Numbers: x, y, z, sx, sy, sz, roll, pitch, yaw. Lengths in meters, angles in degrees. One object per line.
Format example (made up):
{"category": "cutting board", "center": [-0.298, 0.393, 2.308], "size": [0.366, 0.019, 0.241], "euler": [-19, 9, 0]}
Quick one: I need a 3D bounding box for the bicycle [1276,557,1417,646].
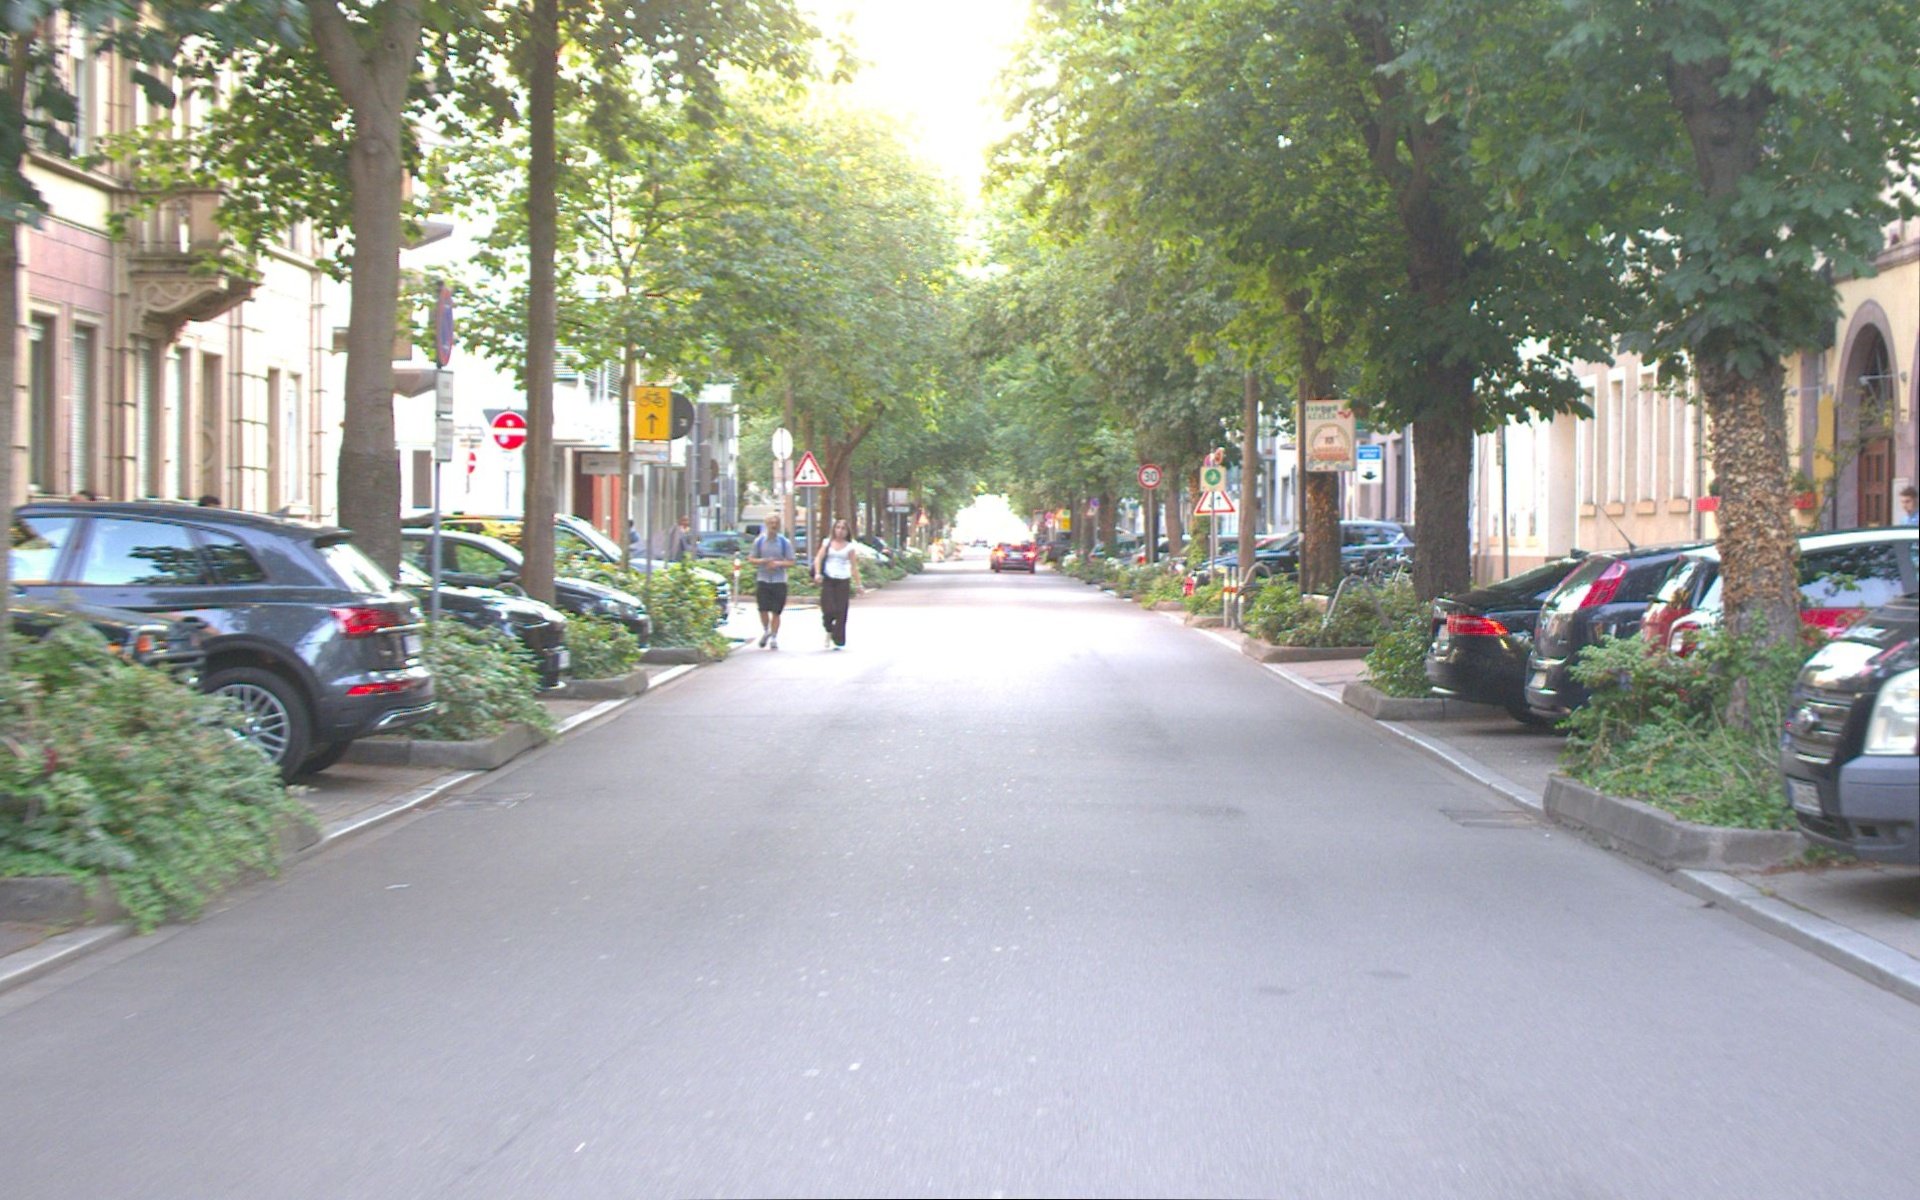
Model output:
{"category": "bicycle", "center": [5.265, 0.019, 46.890], "size": [1.829, 1.174, 0.673], "euler": [-1, 1, 0]}

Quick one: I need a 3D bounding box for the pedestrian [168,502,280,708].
{"category": "pedestrian", "center": [-6.340, 0.036, 29.625], "size": [0.734, 1.733, 0.671], "euler": [1, 1, 7]}

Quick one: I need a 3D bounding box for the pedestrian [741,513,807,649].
{"category": "pedestrian", "center": [-2.403, -0.250, 44.482], "size": [0.794, 1.731, 0.831], "euler": [-1, 1, 0]}

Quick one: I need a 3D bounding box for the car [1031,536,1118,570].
{"category": "car", "center": [5.729, -2.356, 172.054], "size": [4.268, 1.560, 1.963], "euler": [-1, 0, 1]}

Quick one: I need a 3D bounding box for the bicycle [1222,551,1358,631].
{"category": "bicycle", "center": [4.831, -0.142, 50.427], "size": [1.837, 1.131, 0.745], "euler": [-1, 1, -9]}

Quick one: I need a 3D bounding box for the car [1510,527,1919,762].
{"category": "car", "center": [6.054, 0.253, 24.153], "size": [3.987, 1.433, 1.927], "euler": [-3, 1, -1]}

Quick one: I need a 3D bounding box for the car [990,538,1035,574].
{"category": "car", "center": [2.371, -1.969, 155.397], "size": [1.956, 1.560, 4.282], "euler": [-1, 1, 1]}

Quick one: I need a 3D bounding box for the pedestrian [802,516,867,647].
{"category": "pedestrian", "center": [-1.619, -0.243, 44.351], "size": [0.794, 1.665, 0.831], "euler": [-1, 1, 0]}

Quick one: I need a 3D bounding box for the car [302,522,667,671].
{"category": "car", "center": [-5.160, -0.057, 37.665], "size": [3.692, 1.453, 1.873], "euler": [2, 2, 0]}

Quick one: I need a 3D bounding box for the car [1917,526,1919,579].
{"category": "car", "center": [5.592, 0.420, 11.481], "size": [4.155, 1.573, 1.970], "euler": [-3, 1, -1]}

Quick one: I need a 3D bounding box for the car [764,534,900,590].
{"category": "car", "center": [-4.515, -1.331, 121.704], "size": [4.682, 1.848, 1.963], "euler": [-1, 0, 1]}

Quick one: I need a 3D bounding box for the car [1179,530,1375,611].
{"category": "car", "center": [5.995, -0.565, 65.243], "size": [3.483, 1.447, 1.900], "euler": [-1, 1, -1]}

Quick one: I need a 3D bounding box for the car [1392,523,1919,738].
{"category": "car", "center": [5.722, 0.204, 26.685], "size": [4.400, 1.389, 1.886], "euler": [-3, 1, -1]}

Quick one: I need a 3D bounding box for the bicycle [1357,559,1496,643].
{"category": "bicycle", "center": [6.477, 0.007, 47.780], "size": [1.794, 1.124, 0.664], "euler": [-1, 1, -5]}

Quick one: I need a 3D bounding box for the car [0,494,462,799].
{"category": "car", "center": [-5.281, 0.220, 20.794], "size": [4.201, 1.666, 1.907], "euler": [2, 2, 1]}

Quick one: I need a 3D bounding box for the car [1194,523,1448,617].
{"category": "car", "center": [6.485, -0.552, 62.100], "size": [4.426, 1.650, 1.899], "euler": [0, 1, 2]}

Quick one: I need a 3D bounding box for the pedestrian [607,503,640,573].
{"category": "pedestrian", "center": [-8.370, -1.548, 85.588], "size": [0.703, 1.722, 0.905], "euler": [1, 0, 1]}

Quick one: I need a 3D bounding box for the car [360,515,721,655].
{"category": "car", "center": [-5.455, -0.220, 45.082], "size": [4.426, 1.645, 1.873], "euler": [2, 2, 2]}

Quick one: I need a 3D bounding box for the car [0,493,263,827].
{"category": "car", "center": [-5.829, 0.246, 18.446], "size": [3.800, 1.666, 1.714], "euler": [2, 2, 0]}

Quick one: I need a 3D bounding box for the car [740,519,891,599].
{"category": "car", "center": [-4.561, -1.299, 109.263], "size": [4.682, 2.469, 2.000], "euler": [1, 0, 1]}

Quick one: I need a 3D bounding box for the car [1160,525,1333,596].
{"category": "car", "center": [6.128, -0.859, 73.780], "size": [3.483, 1.447, 1.900], "euler": [-1, 1, -1]}

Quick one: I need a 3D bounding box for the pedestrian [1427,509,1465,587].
{"category": "pedestrian", "center": [9.632, -1.037, 68.179], "size": [0.655, 1.531, 0.831], "euler": [-1, 1, 1]}

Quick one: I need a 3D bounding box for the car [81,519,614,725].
{"category": "car", "center": [-4.883, 0.162, 27.809], "size": [3.945, 1.527, 1.907], "euler": [1, 1, 0]}

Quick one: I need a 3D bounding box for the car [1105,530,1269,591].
{"category": "car", "center": [6.624, -1.176, 100.608], "size": [4.718, 1.704, 1.950], "euler": [1, 2, 2]}

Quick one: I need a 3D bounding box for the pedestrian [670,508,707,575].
{"category": "pedestrian", "center": [-7.176, -1.553, 90.887], "size": [0.704, 1.751, 0.739], "euler": [1, 0, 24]}

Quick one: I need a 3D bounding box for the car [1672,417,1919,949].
{"category": "car", "center": [5.526, 0.188, 14.122], "size": [4.689, 2.004, 2.037], "euler": [-3, 1, 0]}

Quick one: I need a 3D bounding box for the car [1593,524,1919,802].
{"category": "car", "center": [5.994, 0.322, 21.555], "size": [3.680, 1.573, 1.714], "euler": [-3, 1, 1]}

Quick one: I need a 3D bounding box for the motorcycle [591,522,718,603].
{"category": "motorcycle", "center": [-5.714, -0.698, 64.207], "size": [2.208, 1.476, 0.860], "euler": [0, 2, -18]}

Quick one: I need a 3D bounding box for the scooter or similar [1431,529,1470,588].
{"category": "scooter or similar", "center": [9.621, -0.812, 67.460], "size": [0.655, 1.149, 0.831], "euler": [-1, 1, 1]}
